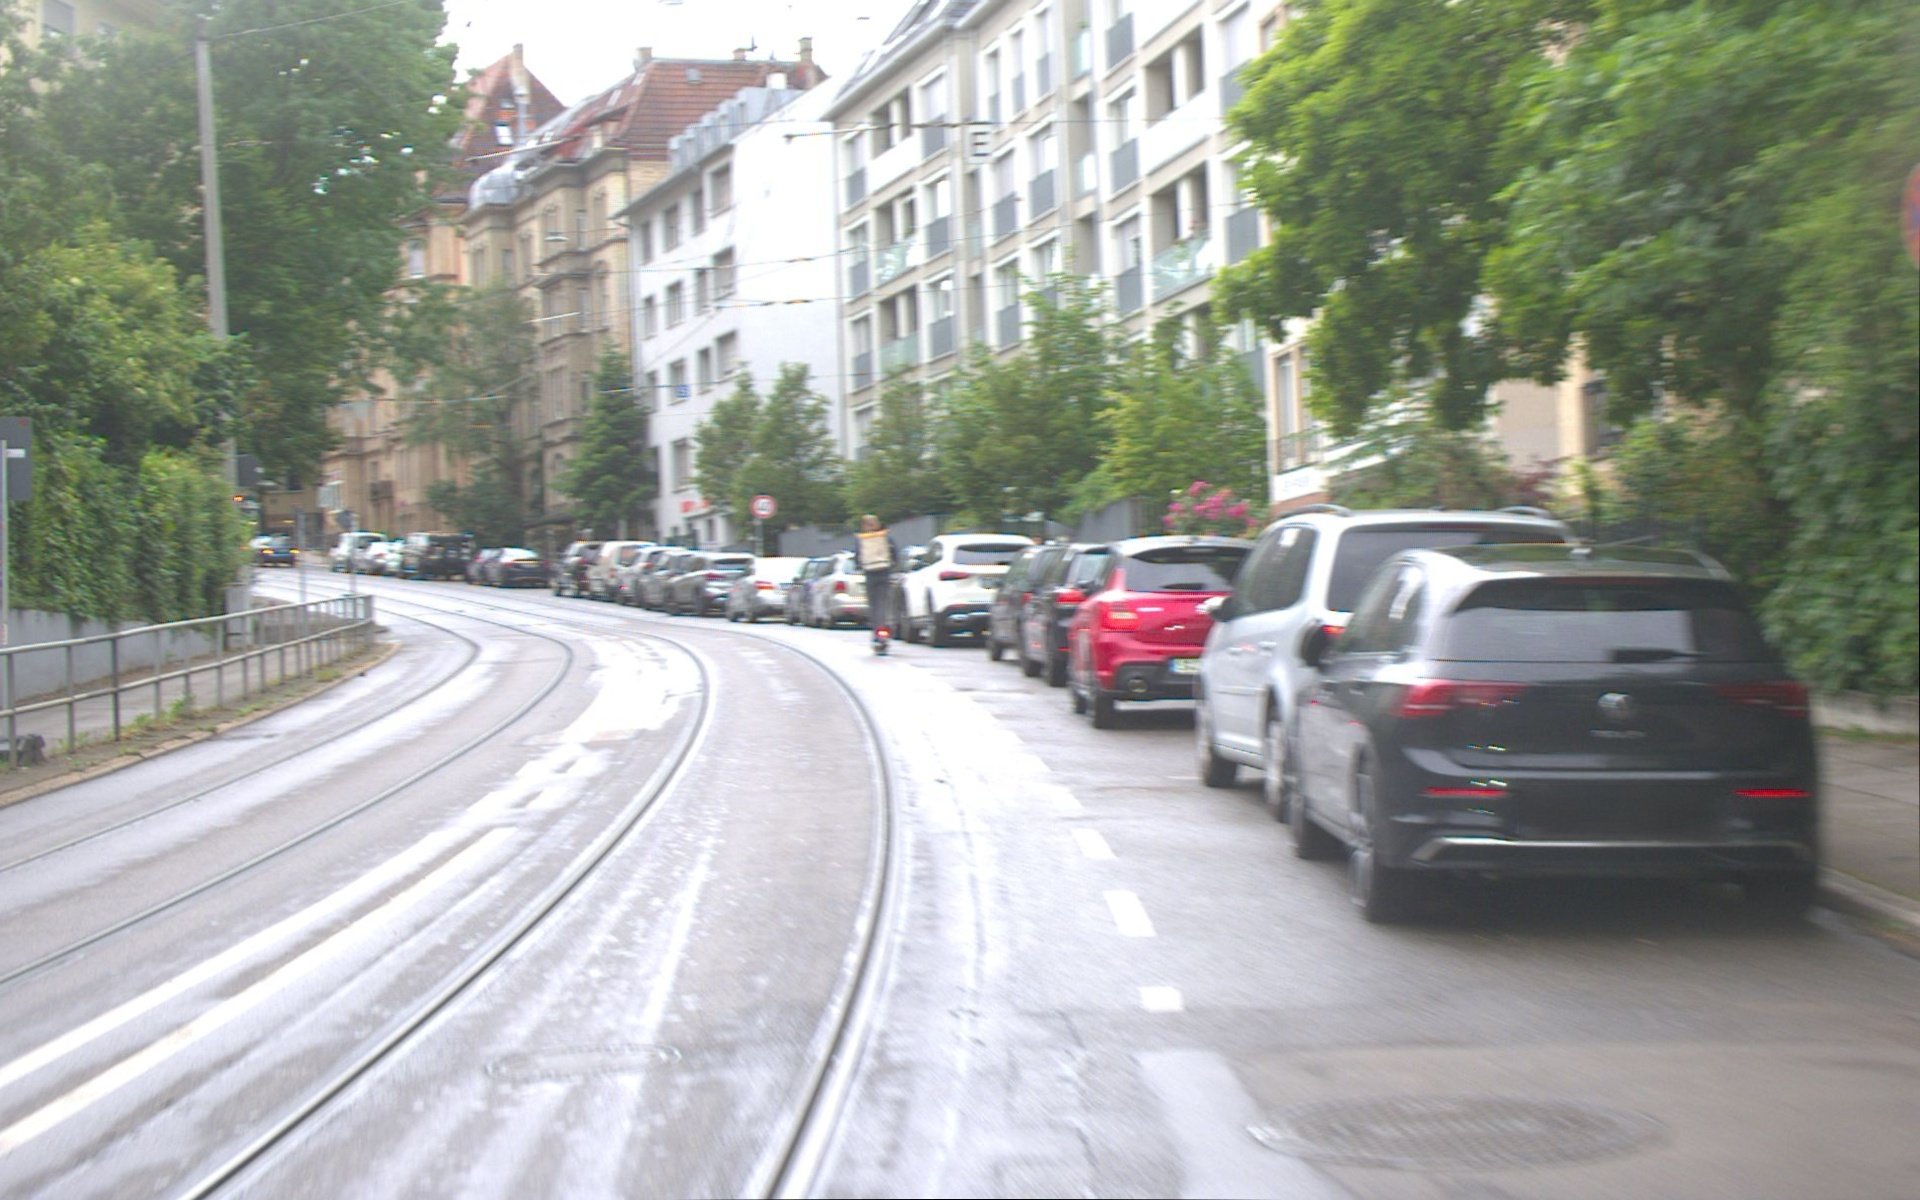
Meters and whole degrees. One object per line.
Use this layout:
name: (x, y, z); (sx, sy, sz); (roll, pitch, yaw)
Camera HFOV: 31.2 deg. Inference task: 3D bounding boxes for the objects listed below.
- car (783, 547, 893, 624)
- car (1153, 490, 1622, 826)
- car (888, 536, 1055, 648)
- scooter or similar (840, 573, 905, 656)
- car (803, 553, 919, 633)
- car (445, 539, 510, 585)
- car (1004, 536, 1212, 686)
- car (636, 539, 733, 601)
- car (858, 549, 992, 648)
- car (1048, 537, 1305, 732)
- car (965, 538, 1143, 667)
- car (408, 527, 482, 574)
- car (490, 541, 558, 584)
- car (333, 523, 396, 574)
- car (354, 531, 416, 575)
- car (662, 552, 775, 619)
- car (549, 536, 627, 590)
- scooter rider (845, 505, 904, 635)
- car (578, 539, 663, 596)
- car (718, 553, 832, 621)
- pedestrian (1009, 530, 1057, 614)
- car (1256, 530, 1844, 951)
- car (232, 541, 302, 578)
car: (-2.541, -0.318, 70.880); (1.701, 1.507, 3.715); (-1, 1, -11)
car: (2.271, 0.260, 19.386); (1.765, 1.598, 4.289); (-3, 1, -4)
car: (0.121, -0.154, 50.271); (1.837, 1.567, 4.249); (0, 1, -8)
scooter or similar: (-1.165, 0.182, 45.516); (0.513, 1.046, 2.009); (0, 1, -11)
car: (-1.948, -0.145, 66.271); (1.661, 1.466, 4.509); (-1, 0, -9)
car: (-17.958, -1.426, 127.852); (1.649, 1.530, 3.890); (-5, 3, -18)
car: (1.493, 0.068, 36.006); (1.683, 1.432, 4.065); (-1, 1, -4)
car: (-7.557, -0.837, 93.979); (1.766, 1.610, 4.249); (-1, 1, -17)
car: (-0.616, -0.062, 56.096); (1.701, 1.507, 4.572); (1, 1, -7)
car: (1.691, 0.225, 27.952); (1.722, 1.432, 3.841); (-1, 1, -2)
car: (1.085, -0.012, 41.620); (1.556, 1.432, 4.304); (-1, 1, -6)
car: (-20.474, -1.963, 136.587); (2.027, 1.818, 4.369); (-1, 1, -20)
car: (-15.619, -1.356, 123.047); (1.766, 1.512, 4.141); (-1, 1, -16)
car: (-26.339, -2.300, 152.009); (2.027, 2.210, 4.141); (-1, 1, -20)
car: (-24.611, -2.021, 147.132); (2.027, 1.818, 4.141); (-1, 1, -17)
car: (-6.190, -0.378, 87.768); (1.766, 1.610, 4.249); (-3, 1, -19)
car: (-11.868, -1.197, 109.455); (1.766, 1.678, 4.249); (-1, 1, -16)
scooter rider: (-1.139, -0.403, 45.538); (0.623, 1.700, 0.844); (1, 1, -11)
car: (-10.374, -1.001, 104.873); (1.766, 1.678, 4.249); (-1, 1, -17)
car: (-4.234, -0.305, 78.020); (1.761, 1.430, 4.640); (-3, 1, -13)
pedestrian: (1.378, -0.529, 64.829); (0.569, 1.537, 0.930); (-5, 2, -15)
car: (2.296, 0.466, 14.369); (1.766, 1.386, 4.001); (-1, 3, 0)
car: (-33.253, -1.935, 164.927); (2.028, 1.728, 4.139); (-1, 1, -30)
